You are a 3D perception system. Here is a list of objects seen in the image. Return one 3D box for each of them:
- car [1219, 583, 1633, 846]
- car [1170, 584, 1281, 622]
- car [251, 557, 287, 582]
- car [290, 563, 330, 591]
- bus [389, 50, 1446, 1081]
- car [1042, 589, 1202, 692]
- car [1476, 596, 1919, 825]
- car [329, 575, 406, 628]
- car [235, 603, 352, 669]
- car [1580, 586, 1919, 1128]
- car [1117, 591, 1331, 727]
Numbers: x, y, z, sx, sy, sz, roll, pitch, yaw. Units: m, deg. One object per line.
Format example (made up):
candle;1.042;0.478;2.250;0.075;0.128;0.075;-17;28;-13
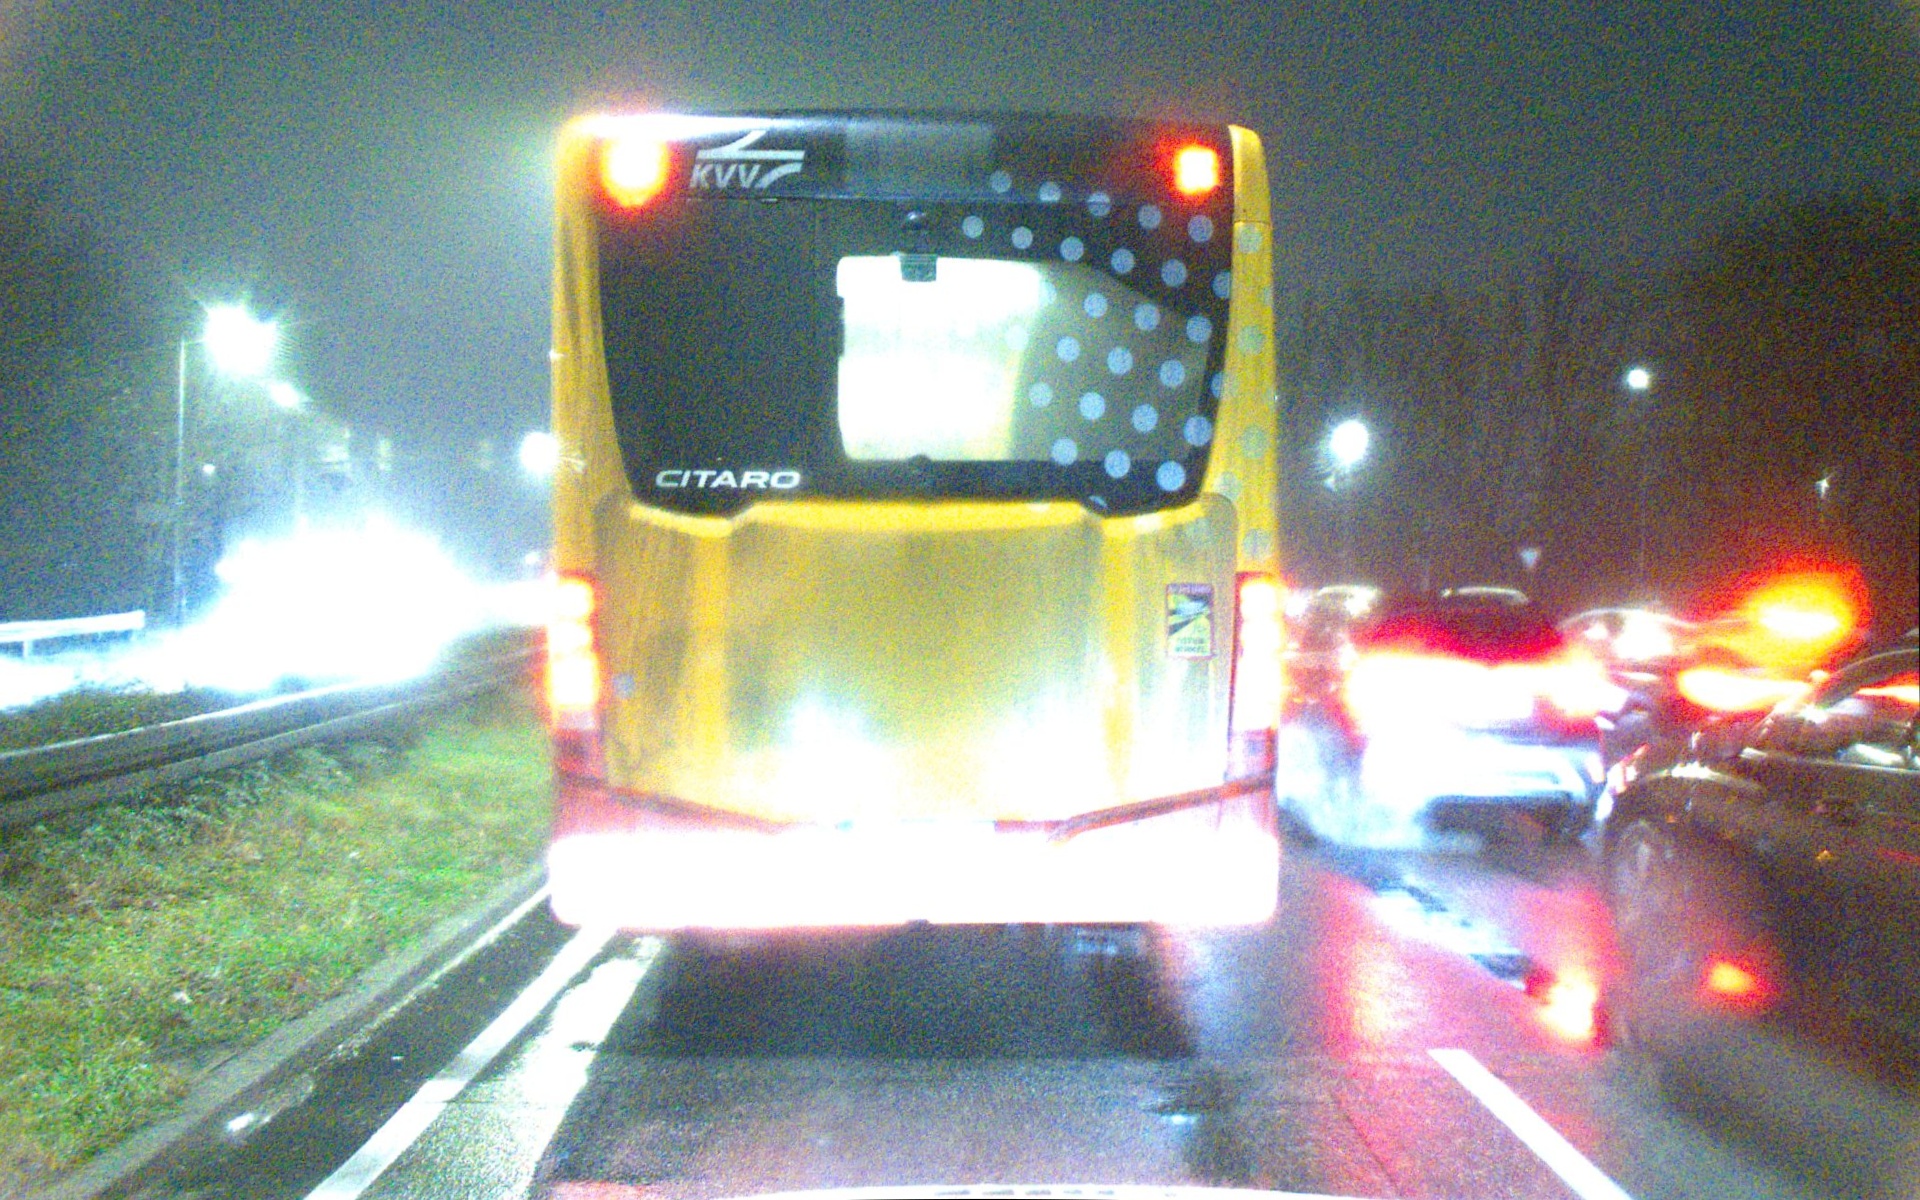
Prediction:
car;3.102;0.693;11.852;1.644;1.548;3.957;1;0;-3
car;10.398;0.105;64.971;3.967;1.369;1.744;1;2;-9
car;-44.324;-1.925;106.084;1.722;1.528;3.962;1;0;-29
car;-37.348;-1.303;94.955;1.778;1.508;3.783;1;0;-27
bus;-0.297;-0.234;9.830;3.219;3.103;9.540;0;2;-2
car;2.467;0.603;26.114;1.953;1.466;3.998;1;0;-3
car;5.976;0.776;13.609;1.953;1.506;4.337;3;0;-2
car;-19.187;0.071;53.706;1.837;1.636;4.234;0;0;-13
car;-15.534;0.790;38.776;1.681;1.448;4.654;0;0;-11
car;3.554;0.762;4.874;1.639;1.532;4.558;2;0;-1
car;2.853;0.590;18.644;1.652;1.353;3.959;0;0;-2
